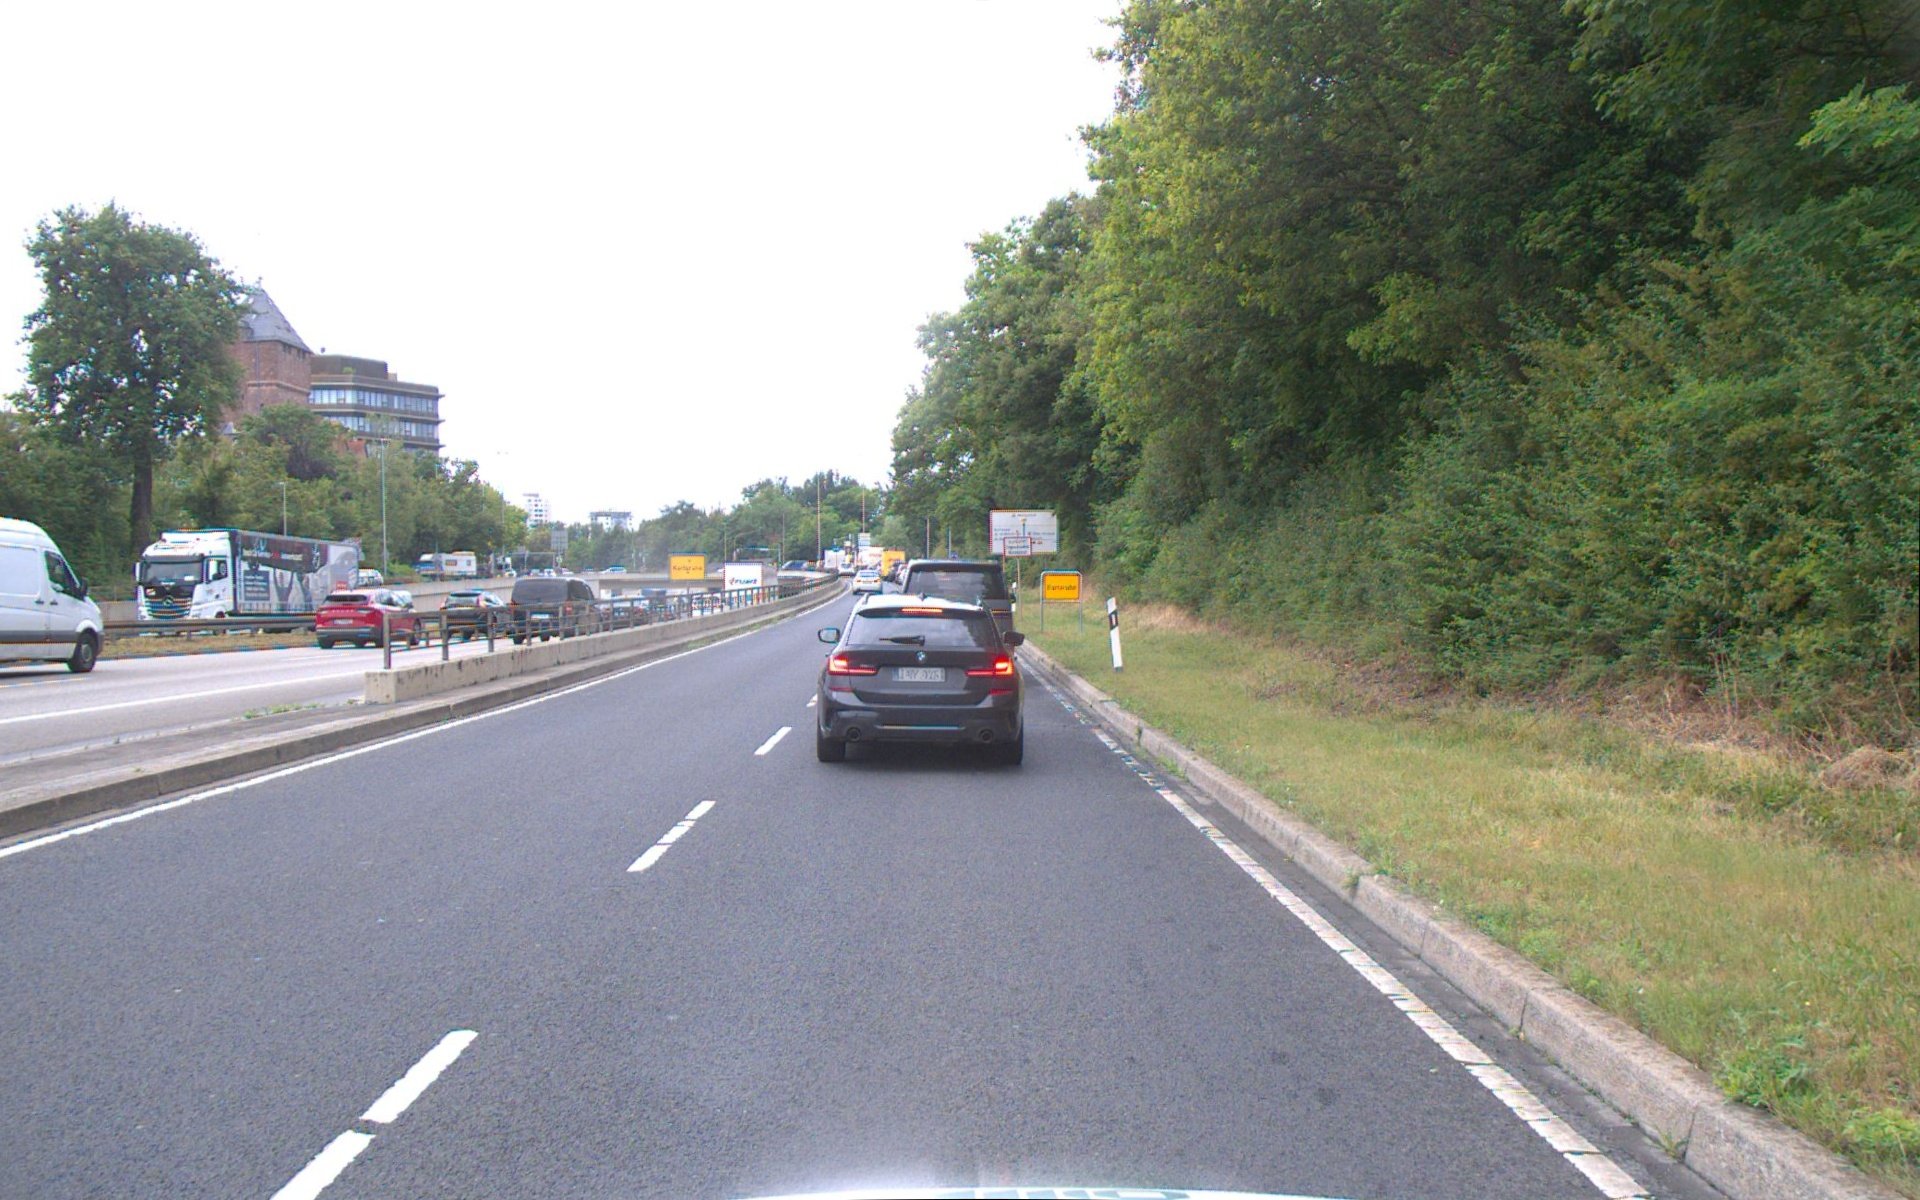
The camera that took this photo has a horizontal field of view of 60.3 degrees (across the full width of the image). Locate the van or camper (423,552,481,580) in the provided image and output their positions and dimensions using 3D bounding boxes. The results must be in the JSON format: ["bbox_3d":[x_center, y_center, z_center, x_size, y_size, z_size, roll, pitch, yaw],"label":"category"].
[{"bbox_3d":[-52.716,-3.541,171.664,1.887,2.683,5.630,1,0,41],"label":"van or camper"}]

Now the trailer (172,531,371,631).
[{"bbox_3d":[-28.817,-0.775,70.308,2.538,3.823,14.724,0,0,-1],"label":"trailer"}]

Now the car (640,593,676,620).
[{"bbox_3d":[-19.199,0.408,105.244,1.654,1.660,3.733,1,0,-2],"label":"car"}]

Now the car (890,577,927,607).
[{"bbox_3d":[-2.683,-0.402,85.791,1.821,1.489,4.532,1,0,-2],"label":"car"}]

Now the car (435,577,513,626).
[{"bbox_3d":[-17.040,0.042,58.109,1.654,1.636,4.006,1,0,-2],"label":"car"}]

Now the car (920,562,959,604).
[{"bbox_3d":[-0.784,-0.635,63.210,1.423,1.567,3.224,0,0,-1],"label":"car"}]

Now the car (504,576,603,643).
[{"bbox_3d":[-12.094,0.257,49.454,1.953,1.883,4.809,0,0,-3],"label":"car"}]

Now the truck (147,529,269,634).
[{"bbox_3d":[-28.671,-0.693,63.255,2.540,3.834,4.777,0,0,-1],"label":"truck"}]

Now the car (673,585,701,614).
[{"bbox_3d":[-19.575,-0.062,118.818,1.414,2.080,3.680,0,0,0],"label":"car"}]

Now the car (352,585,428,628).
[{"bbox_3d":[-24.633,0.266,71.591,1.953,1.796,3.999,0,0,-1],"label":"car"}]

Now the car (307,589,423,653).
[{"bbox_3d":[-16.715,0.551,46.658,1.852,1.711,4.305,0,1,-2],"label":"car"}]

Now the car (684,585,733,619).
[{"bbox_3d":[-12.970,0.089,85.553,1.906,1.721,4.506,0,1,-1],"label":"car"}]

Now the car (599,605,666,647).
[{"bbox_3d":[-12.612,0.983,64.008,1.678,1.482,4.666,0,1,0],"label":"car"}]

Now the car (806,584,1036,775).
[{"bbox_3d":[-0.399,0.620,15.179,1.809,1.492,3.998,1,0,-3],"label":"car"}]

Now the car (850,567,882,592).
[{"bbox_3d":[-5.765,-1.241,101.959,1.821,1.489,4.883,1,0,-2],"label":"car"}]

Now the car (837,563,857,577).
[{"bbox_3d":[-12.927,-3.450,189.175,1.895,1.624,3.868,0,1,-9],"label":"car"}]

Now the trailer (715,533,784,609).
[{"bbox_3d":[-14.235,-1.879,112.995,3.069,4.807,14.554,1,0,-1],"label":"trailer"}]

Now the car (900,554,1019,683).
[{"bbox_3d":[-0.038,0.265,26.560,1.759,1.904,3.999,0,0,-1],"label":"car"}]

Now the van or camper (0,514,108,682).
[{"bbox_3d":[-16.333,-0.028,26.438,2.008,2.667,6.954,0,0,-2],"label":"van or camper"}]

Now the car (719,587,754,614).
[{"bbox_3d":[-13.369,0.034,99.169,1.733,1.576,3.491,0,1,-2],"label":"car"}]
